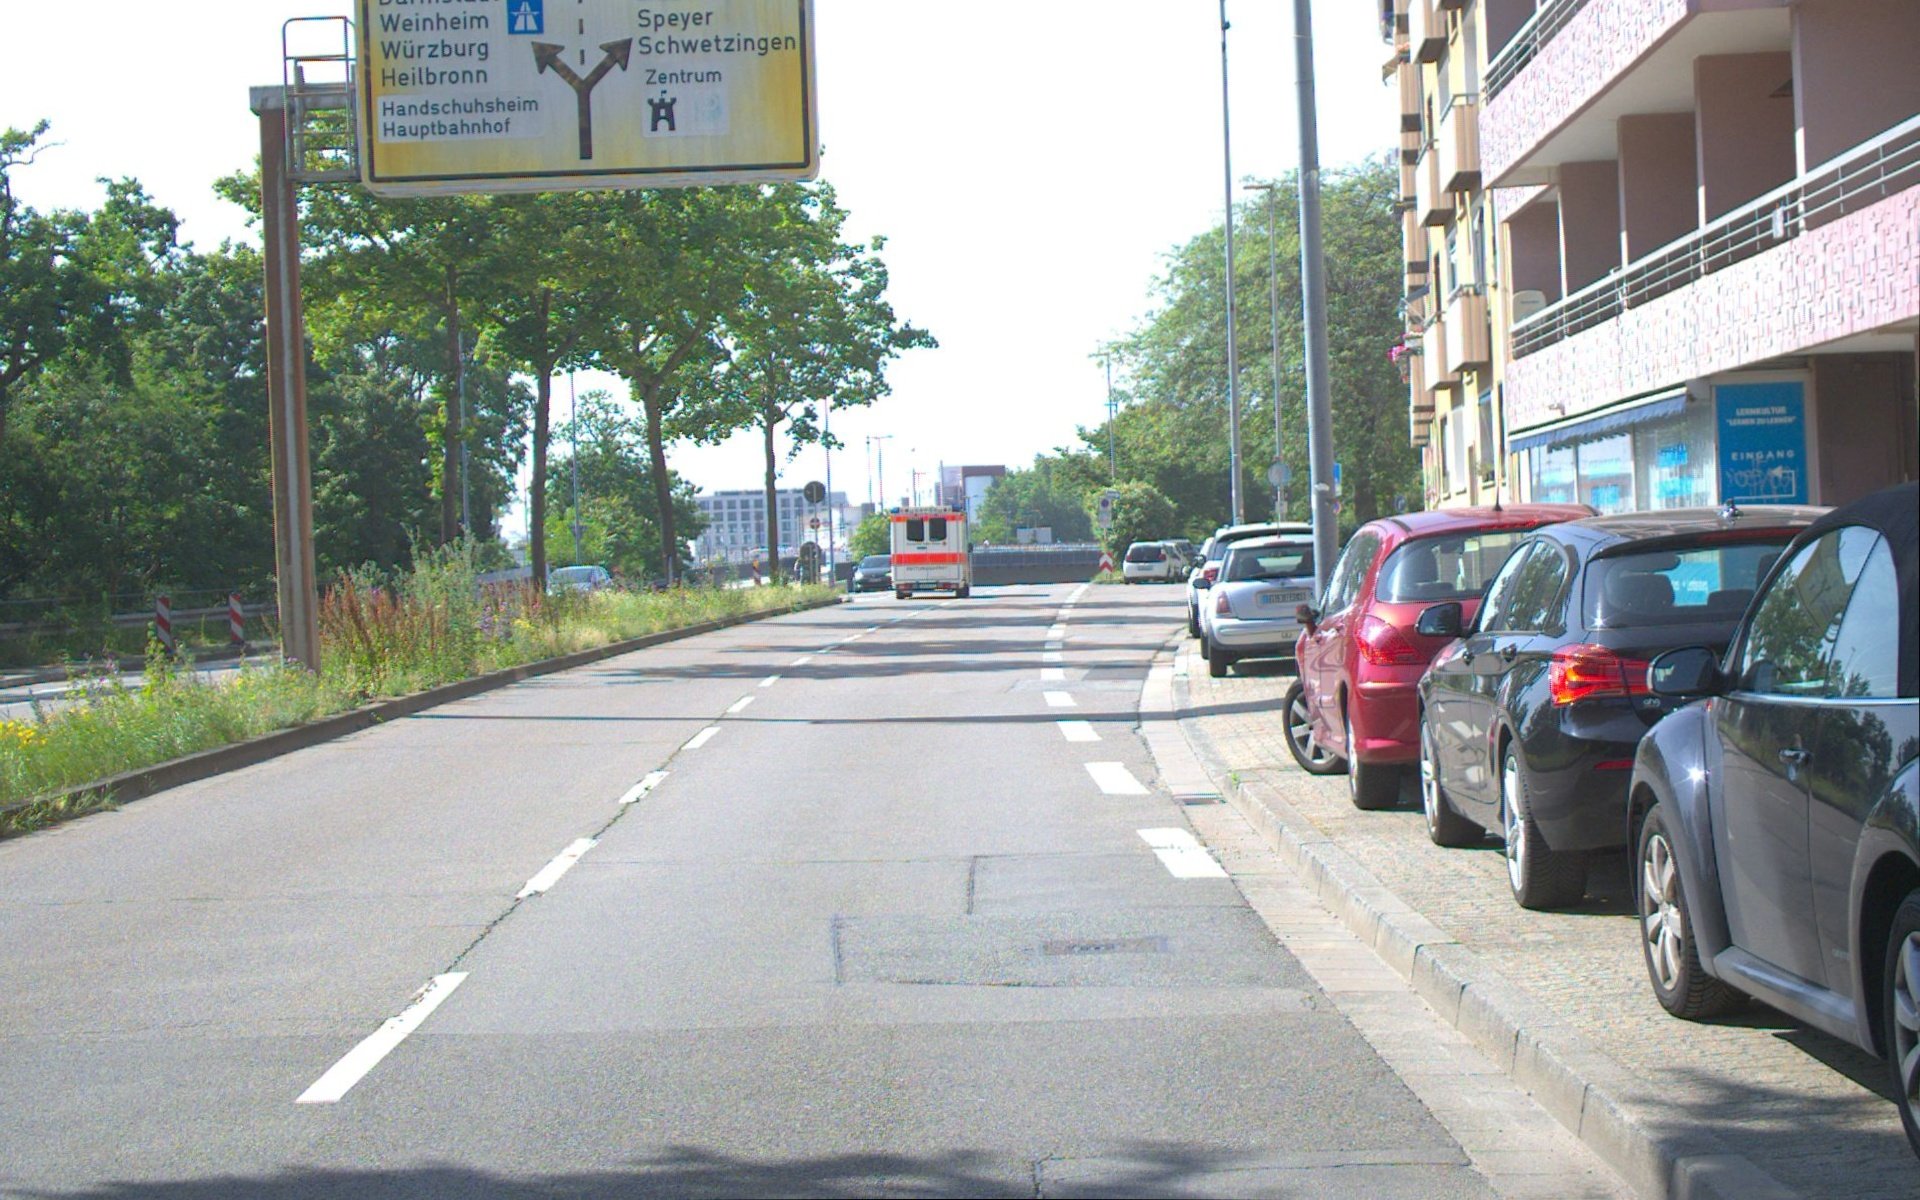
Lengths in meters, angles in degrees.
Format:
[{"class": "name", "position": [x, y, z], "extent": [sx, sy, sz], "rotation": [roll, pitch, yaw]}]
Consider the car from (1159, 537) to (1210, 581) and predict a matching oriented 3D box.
[{"class": "car", "position": [8.705, -1.596, 133.118], "extent": [1.772, 1.574, 4.185], "rotation": [-3, 1, 5]}]

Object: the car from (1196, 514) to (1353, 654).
[{"class": "car", "position": [3.787, -0.223, 41.838], "extent": [1.736, 1.536, 4.353], "rotation": [-3, 1, 4]}]

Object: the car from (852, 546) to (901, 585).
[{"class": "car", "position": [-3.372, -1.418, 140.093], "extent": [1.798, 1.525, 4.000], "rotation": [-2, 1, 1]}]

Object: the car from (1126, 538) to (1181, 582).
[{"class": "car", "position": [6.926, -1.438, 123.023], "extent": [1.620, 1.500, 3.460], "rotation": [-1, 1, 9]}]

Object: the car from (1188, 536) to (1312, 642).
[{"class": "car", "position": [4.334, -0.187, 51.725], "extent": [1.756, 1.501, 4.127], "rotation": [-1, 1, 4]}]

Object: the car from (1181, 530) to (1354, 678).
[{"class": "car", "position": [3.308, 0.003, 37.068], "extent": [1.678, 1.404, 3.430], "rotation": [-4, 1, 5]}]

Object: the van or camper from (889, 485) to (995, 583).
[{"class": "van or camper", "position": [-0.490, -1.932, 101.860], "extent": [2.297, 2.780, 5.569], "rotation": [-1, 1, 8]}]

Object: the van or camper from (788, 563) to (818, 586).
[{"class": "van or camper", "position": [-9.803, -1.612, 214.756], "extent": [1.467, 1.345, 4.630], "rotation": [-2, 1, 2]}]

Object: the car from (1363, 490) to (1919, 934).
[{"class": "car", "position": [2.737, 0.350, 13.724], "extent": [1.642, 1.448, 4.127], "rotation": [-3, 1, -1]}]

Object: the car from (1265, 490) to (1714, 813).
[{"class": "car", "position": [2.766, 0.228, 18.817], "extent": [1.785, 1.477, 4.000], "rotation": [-3, 1, 0]}]

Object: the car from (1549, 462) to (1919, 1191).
[{"class": "car", "position": [2.725, 0.407, 8.664], "extent": [1.642, 1.496, 4.010], "rotation": [-3, 1, -1]}]

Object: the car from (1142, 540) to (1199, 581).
[{"class": "car", "position": [7.836, -1.476, 127.683], "extent": [1.722, 1.500, 4.131], "rotation": [0, 1, 9]}]
